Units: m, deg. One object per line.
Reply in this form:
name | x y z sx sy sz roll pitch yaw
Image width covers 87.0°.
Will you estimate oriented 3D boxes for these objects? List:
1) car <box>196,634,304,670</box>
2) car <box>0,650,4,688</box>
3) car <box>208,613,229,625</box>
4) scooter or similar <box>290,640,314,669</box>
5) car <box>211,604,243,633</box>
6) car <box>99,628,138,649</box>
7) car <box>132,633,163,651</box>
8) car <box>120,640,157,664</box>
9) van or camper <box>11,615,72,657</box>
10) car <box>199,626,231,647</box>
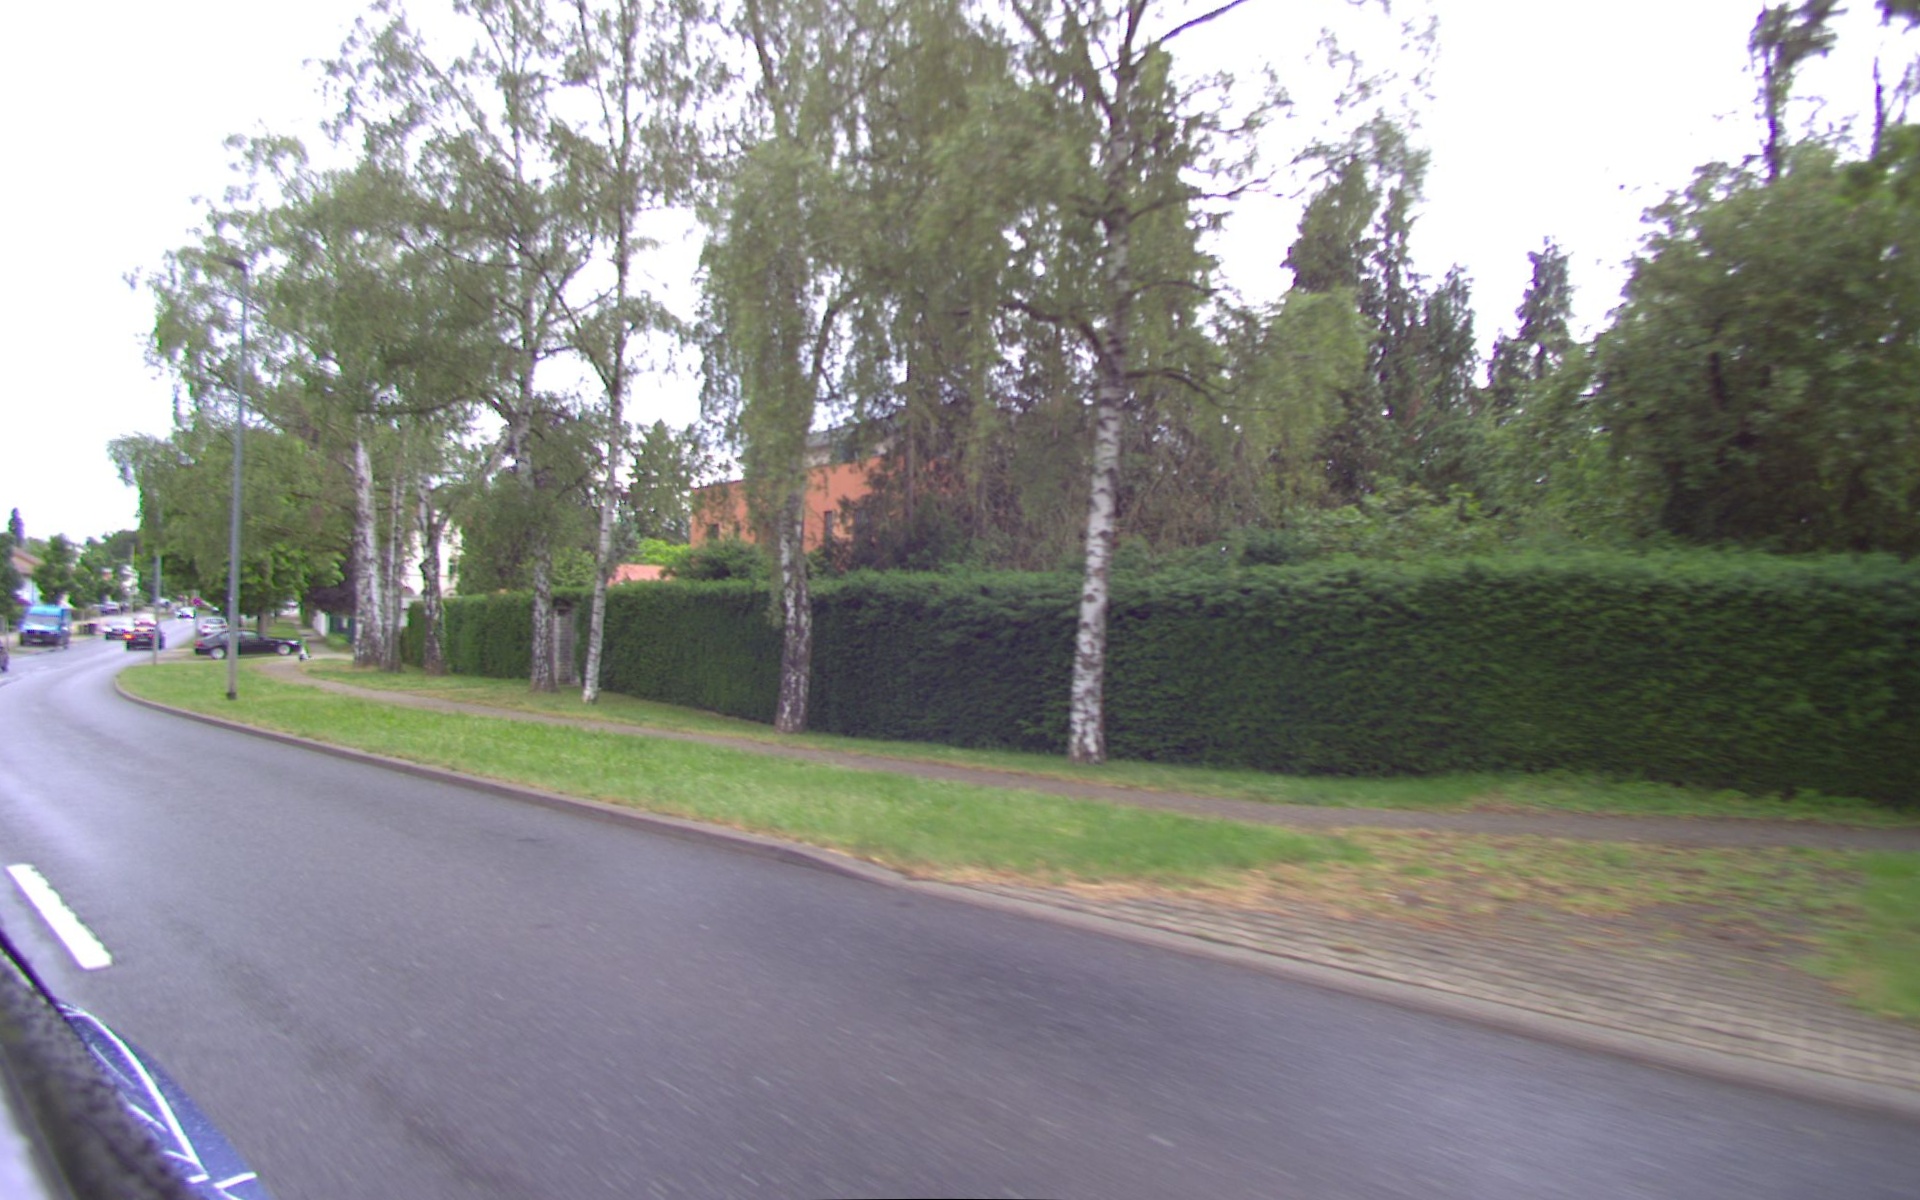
car | -35.871 2.598 51.238 4.369 1.428 1.760 -3 1 -35
car | -39.891 2.847 40.682 1.819 1.552 4.007 -1 0 -39
car | -97.792 2.499 133.441 1.865 1.552 4.012 -1 0 -31
scooter or similar | -28.219 2.326 43.437 0.418 1.167 1.494 -1 -1 -15
car | -74.797 1.853 103.302 2.211 2.860 5.059 -1 1 -32
car | -66.062 2.995 79.518 1.865 1.552 4.011 -1 0 -33
car | -76.516 3.899 95.331 1.865 1.552 4.011 -1 0 -33
car | -53.671 3.380 66.127 1.733 1.452 4.163 -1 -1 -41
van or camper | -61.776 2.394 68.160 2.114 2.628 5.797 3 -2 -34
car | -61.602 2.993 83.751 1.746 1.619 4.012 1 -1 -32
